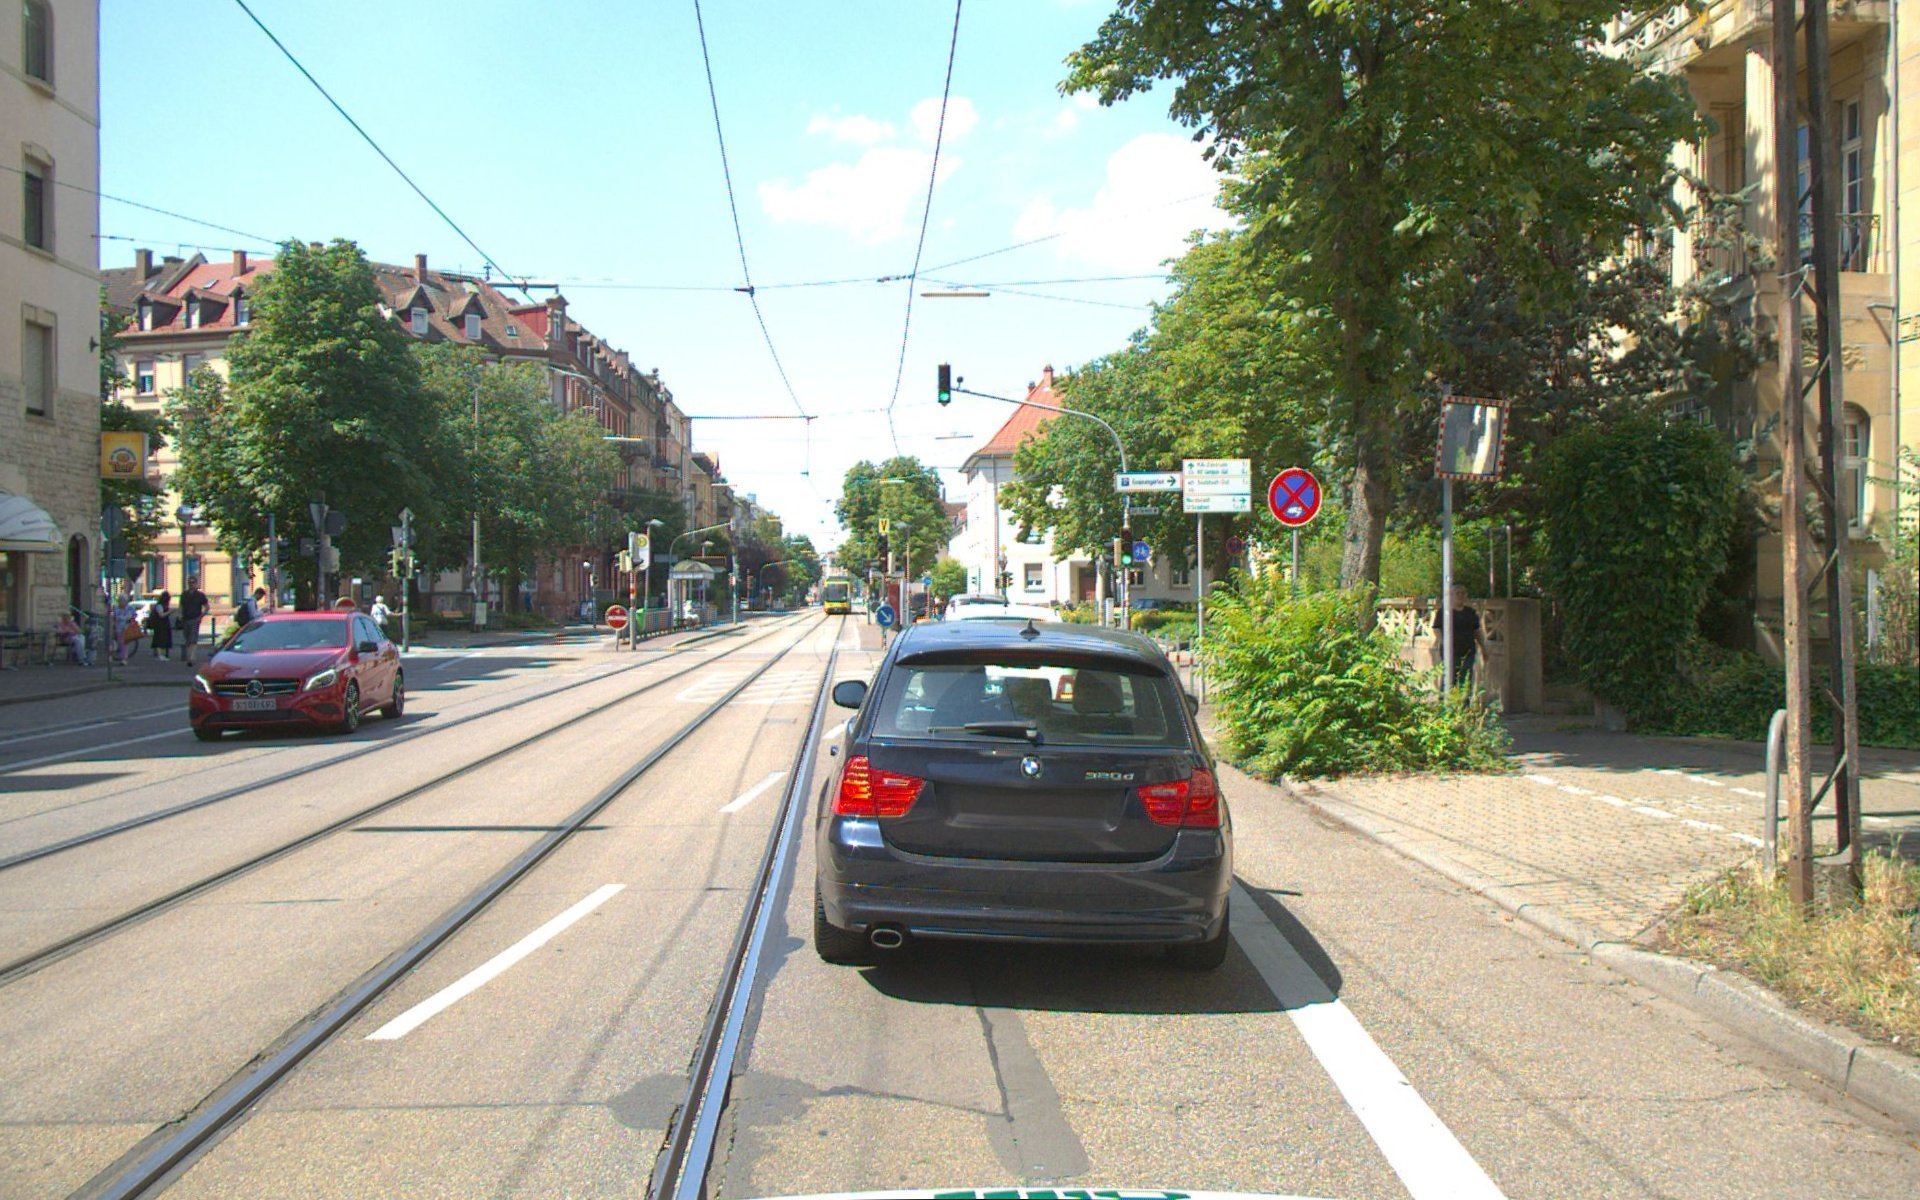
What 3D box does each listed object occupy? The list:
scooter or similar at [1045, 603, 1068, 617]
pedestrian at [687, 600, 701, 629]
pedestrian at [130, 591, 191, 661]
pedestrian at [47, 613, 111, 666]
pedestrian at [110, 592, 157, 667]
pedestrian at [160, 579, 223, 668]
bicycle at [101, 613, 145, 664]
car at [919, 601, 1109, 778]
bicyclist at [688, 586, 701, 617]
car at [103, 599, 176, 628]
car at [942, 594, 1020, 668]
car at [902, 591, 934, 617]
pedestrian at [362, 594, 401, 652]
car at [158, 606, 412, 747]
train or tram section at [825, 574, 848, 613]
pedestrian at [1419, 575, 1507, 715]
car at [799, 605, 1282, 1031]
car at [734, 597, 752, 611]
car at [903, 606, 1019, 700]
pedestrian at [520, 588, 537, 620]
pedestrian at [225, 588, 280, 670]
[{"bbox_3d":[5.863,0.619,100.606,1.287,0.852,0.525,0,0,-9],"label":"scooter or similar"},{"bbox_3d":[-11.431,0.622,71.077,0.602,1.264,0.626,0,0,-10],"label":"pedestrian"},{"bbox_3d":[-19.149,0.623,39.636,1.001,1.664,0.864,0,0,8],"label":"pedestrian"},{"bbox_3d":[-18.759,0.843,35.229,0.897,1.096,0.882,0,0,-3],"label":"pedestrian"},{"bbox_3d":[-18.136,0.636,36.306,0.794,1.622,0.914,0,0,-19],"label":"pedestrian"},{"bbox_3d":[-16.884,0.506,36.353,0.883,1.924,1.163,0,0,-5],"label":"pedestrian"},{"bbox_3d":[-19.573,0.902,38.677,0.539,1.148,1.658,0,-2,-40],"label":"bicycle"},{"bbox_3d":[0.459,0.778,16.251,1.650,1.510,3.684,0,0,0],"label":"car"},{"bbox_3d":[-16.376,0.079,101.915,0.708,1.903,0.824,0,0,-5],"label":"bicyclist"},{"bbox_3d":[-44.307,0.724,89.337,3.388,1.497,1.685,0,0,21],"label":"car"},{"bbox_3d":[0.447,0.653,36.923,1.656,1.540,3.821,0,0,0],"label":"car"},{"bbox_3d":[-3.116,0.297,121.738,1.956,1.881,3.994,0,0,-7],"label":"car"},{"bbox_3d":[-17.664,0.700,50.540,0.897,1.753,0.840,0,0,-2],"label":"pedestrian"},{"bbox_3d":[-8.098,0.837,20.282,1.789,1.438,4.421,-2,0,-8],"label":"car"},{"bbox_3d":[-11.658,-0.632,156.592,2.147,3.543,8.838,0,0,-4],"label":"train or tram section"},{"bbox_3d":[6.164,0.542,20.297,0.839,1.674,0.837,-1,0,3],"label":"pedestrian"},{"bbox_3d":[0.342,0.787,8.199,1.687,1.433,4.565,2,0,1],"label":"car"},{"bbox_3d":[-25.618,0.430,195.065,1.756,1.614,3.988,1,-1,-12],"label":"car"},{"bbox_3d":[-0.050,0.784,26.226,1.657,1.346,3.819,0,0,-3],"label":"car"},{"bbox_3d":[-25.344,0.220,97.134,0.735,1.843,0.630,0,0,-44],"label":"pedestrian"},{"bbox_3d":[-15.527,0.635,36.299,0.842,1.763,0.775,1,0,-2],"label":"pedestrian"}]
